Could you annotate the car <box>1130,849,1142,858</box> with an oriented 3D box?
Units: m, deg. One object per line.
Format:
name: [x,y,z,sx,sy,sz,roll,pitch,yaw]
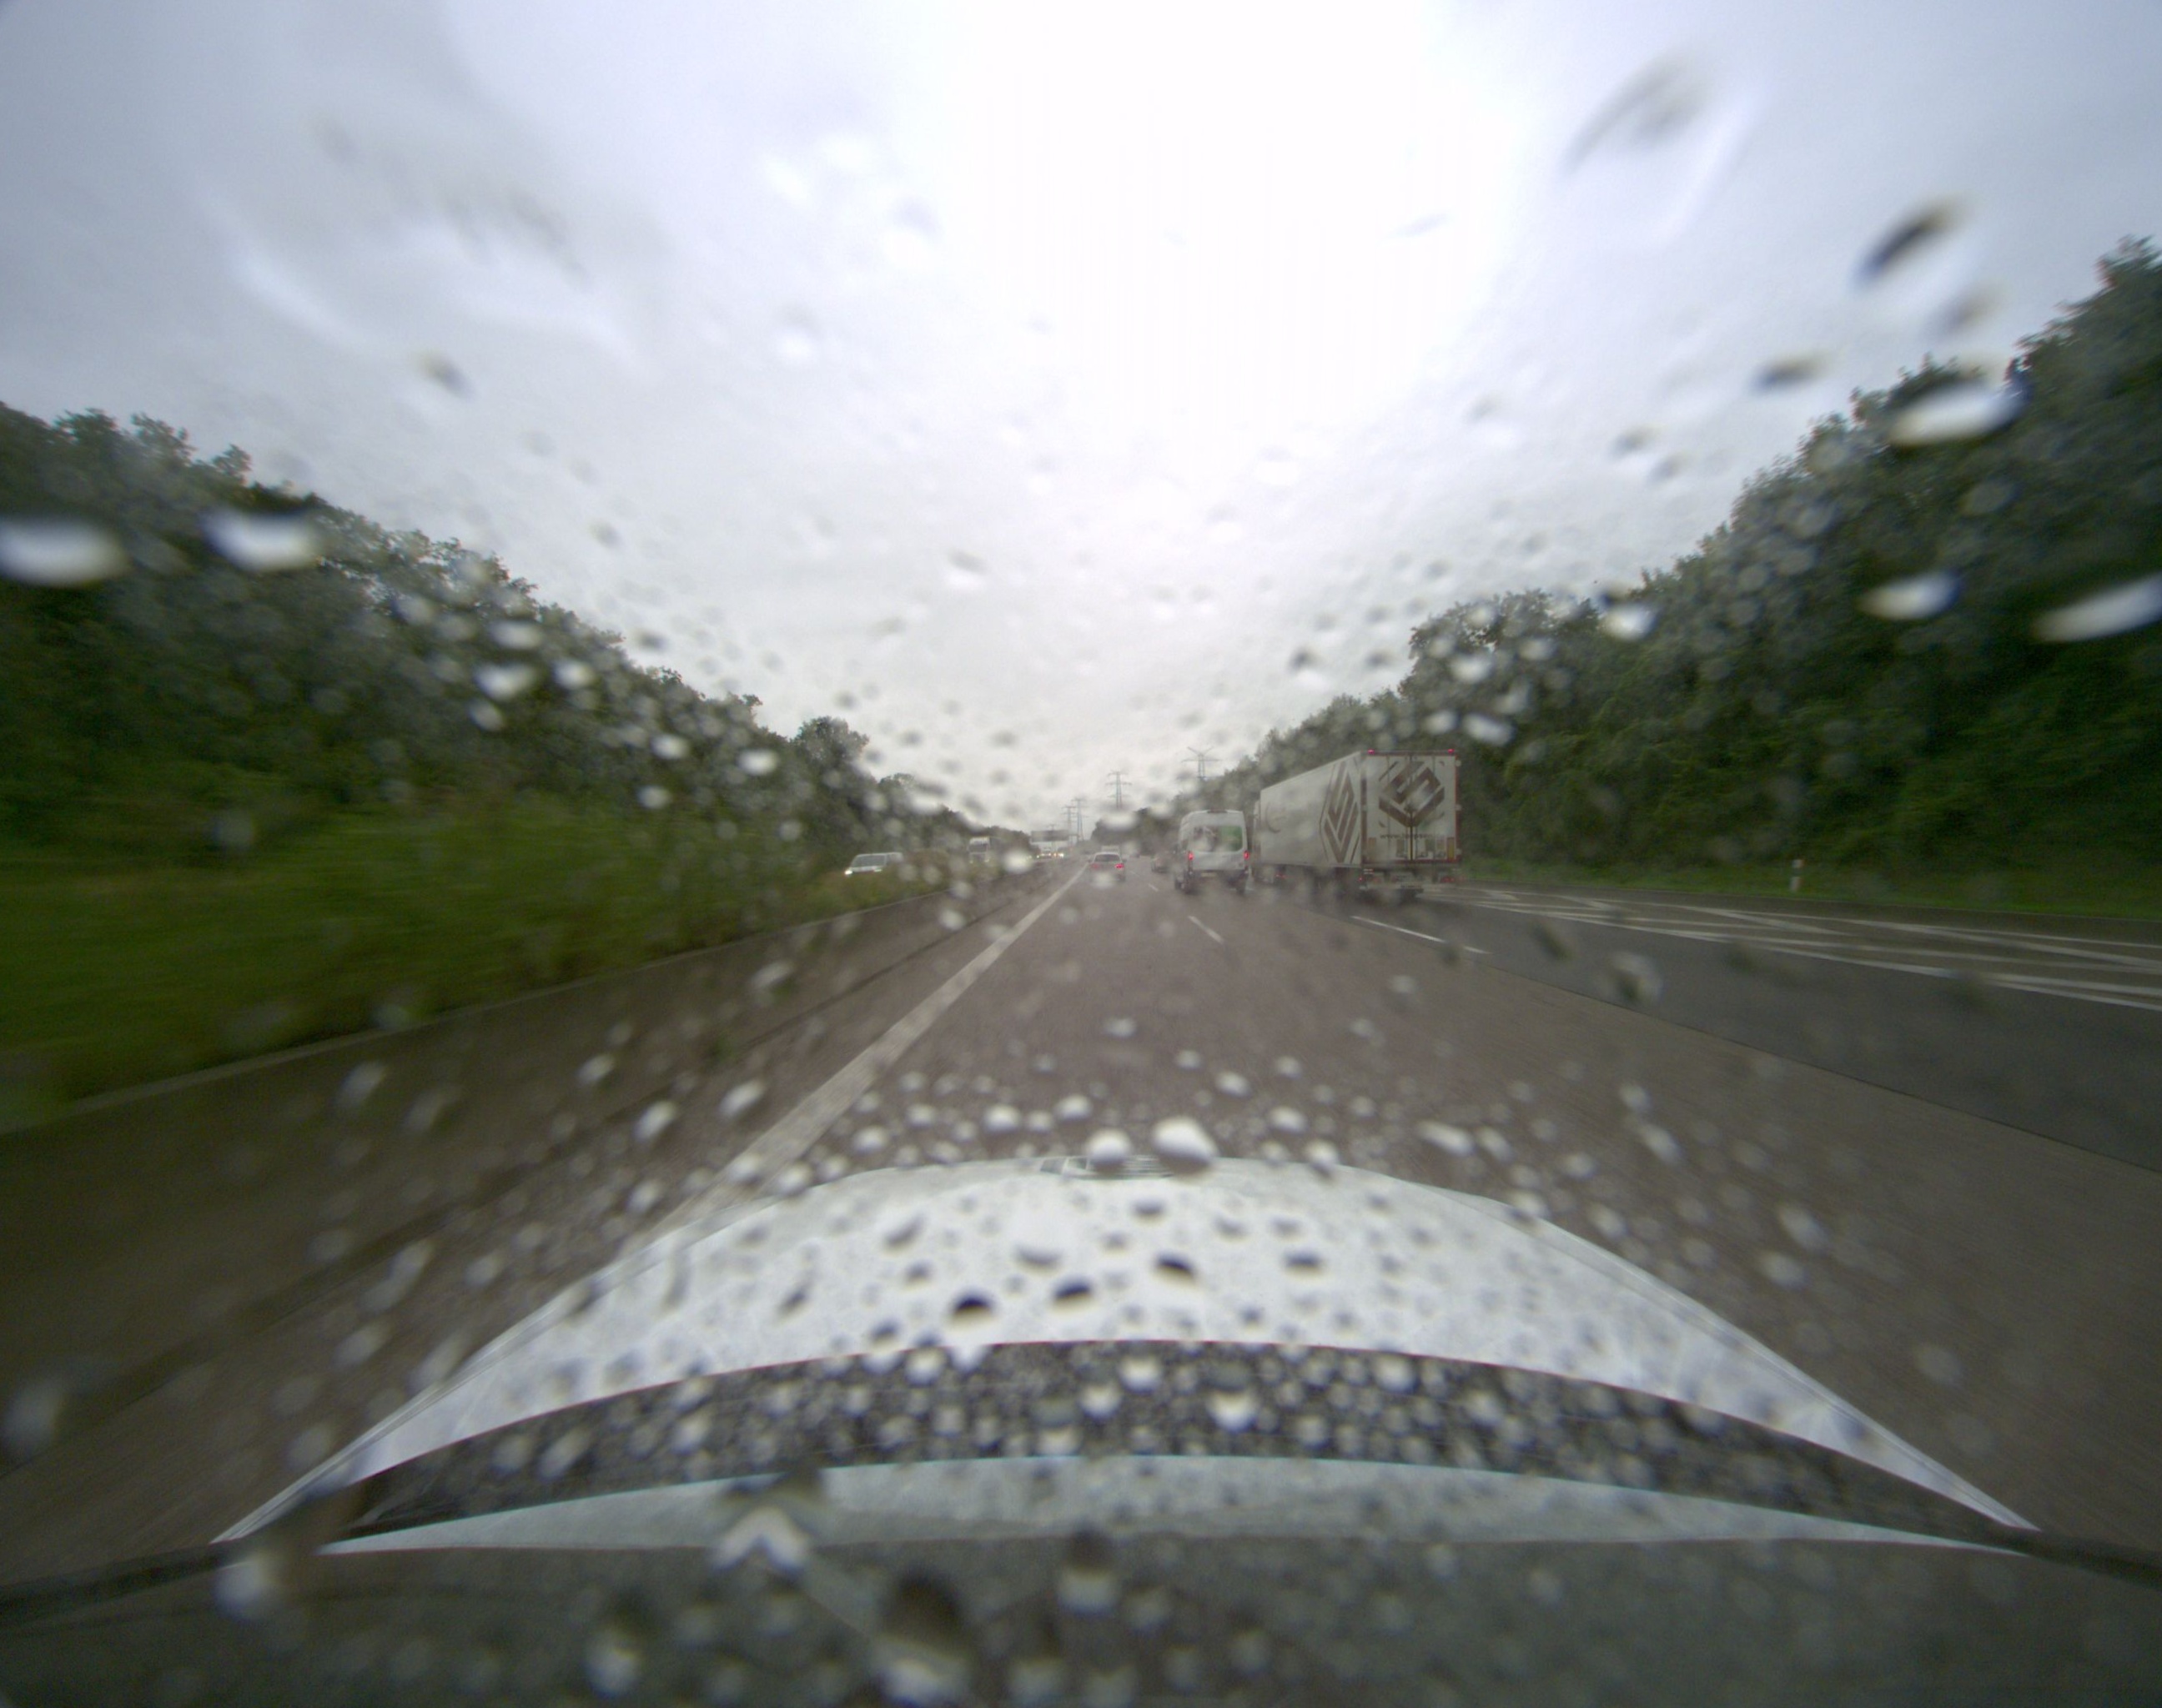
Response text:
car: [10.412,-0.099,153.625,1.984,1.486,4.006,-4,-1,5]

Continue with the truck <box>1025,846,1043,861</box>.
truck: [-12.614,-0.251,217.374,4.051,3.747,16.837,-2,0,-5]

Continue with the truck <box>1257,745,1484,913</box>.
truck: [9.027,-0.616,28.032,3.589,4.332,13.208,-1,-1,3]

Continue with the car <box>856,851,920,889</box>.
car: [-9.833,0.797,41.876,1.984,1.772,4.006,-2,0,5]

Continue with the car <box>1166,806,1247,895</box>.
car: [4.337,-0.134,28.796,1.989,2.864,3.996,-2,0,-3]

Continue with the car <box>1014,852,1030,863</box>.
car: [-8.173,0.495,112.908,1.747,1.442,4.002,-2,0,2]

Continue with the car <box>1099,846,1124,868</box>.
car: [2.613,0.209,69.640,1.837,1.772,4.007,-2,0,6]

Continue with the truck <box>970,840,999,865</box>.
truck: [-12.880,-0.220,109.107,2.695,3.168,9.800,-2,0,0]

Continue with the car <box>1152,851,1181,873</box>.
car: [5.760,0.525,54.747,1.847,1.422,4.008,-1,0,7]

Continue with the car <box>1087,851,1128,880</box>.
car: [1.307,0.523,39.921,1.859,1.288,4.002,-2,0,2]
